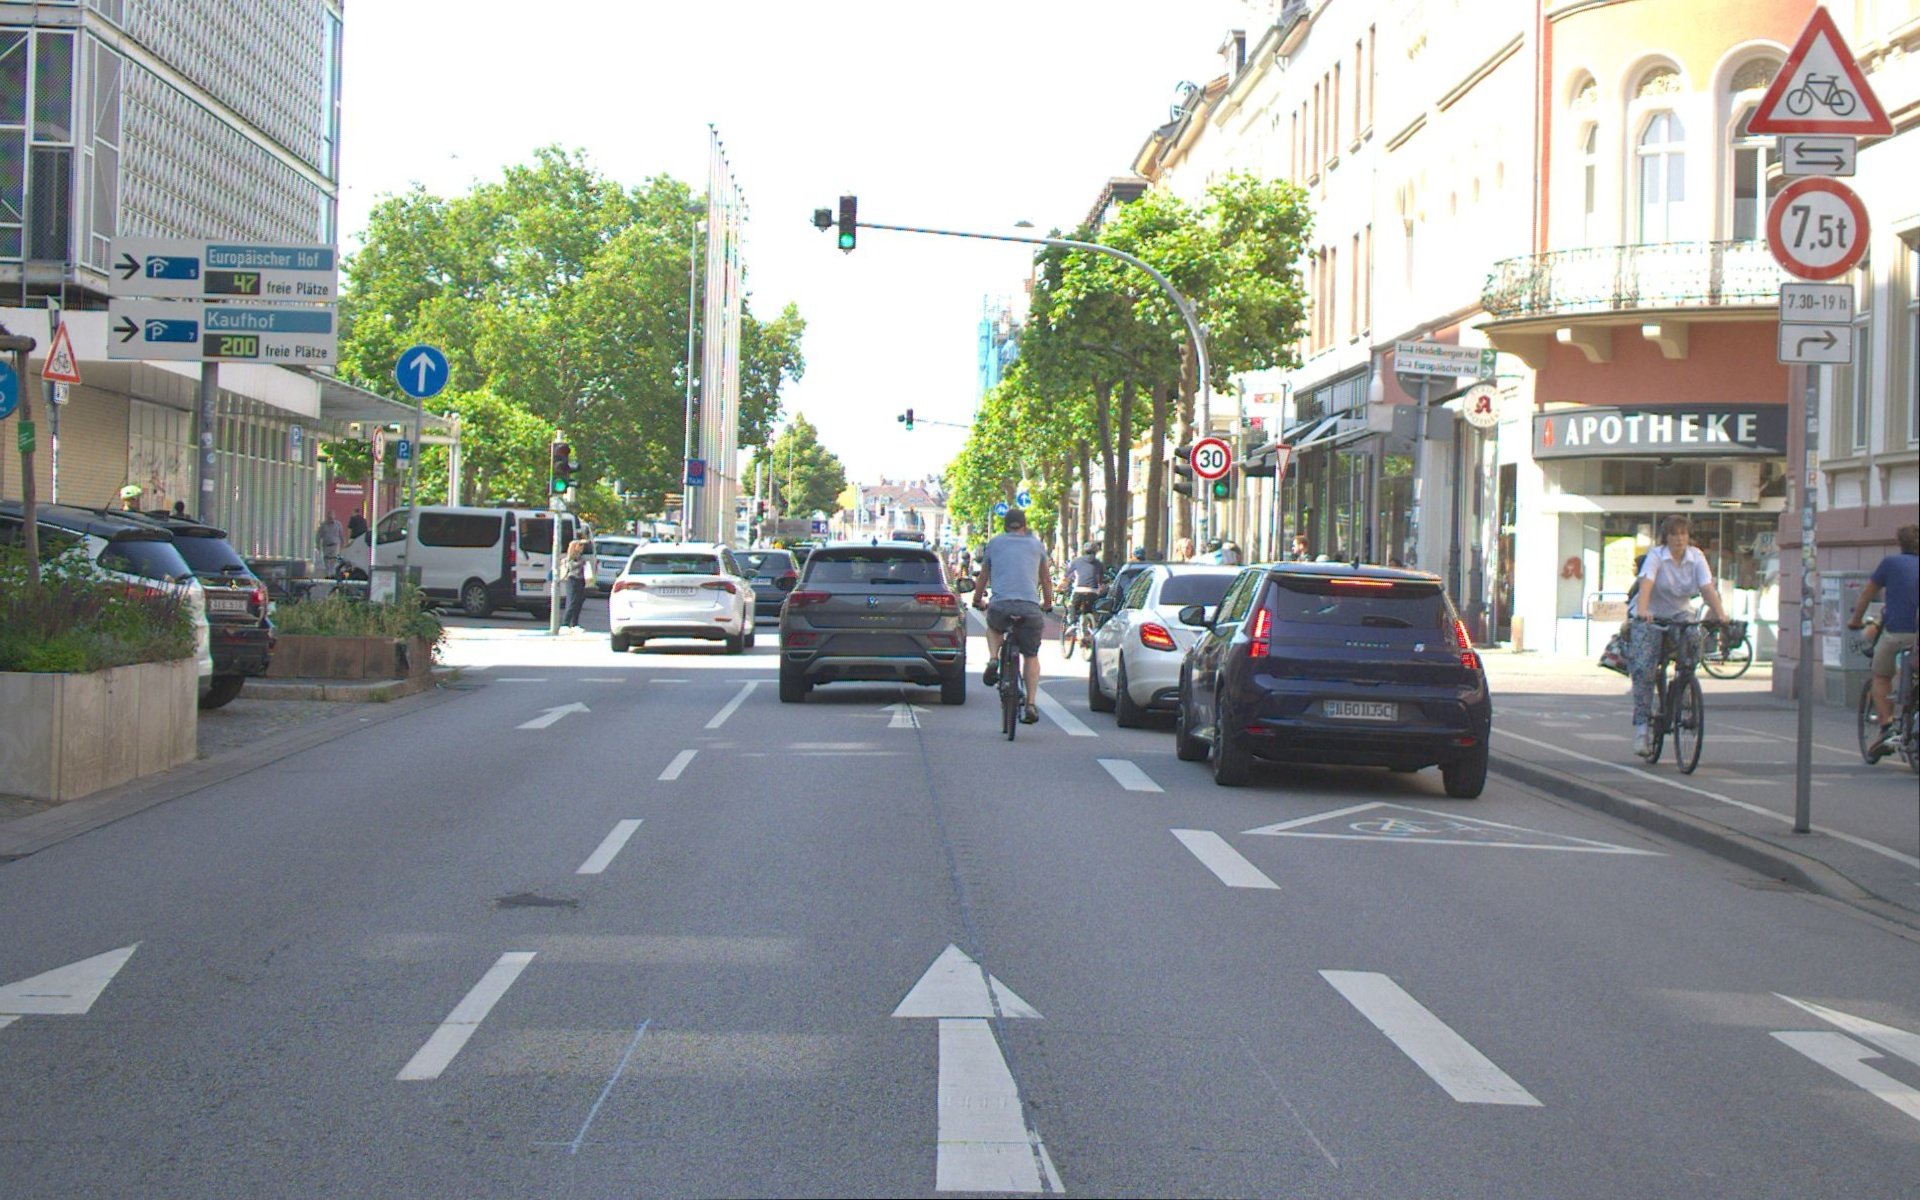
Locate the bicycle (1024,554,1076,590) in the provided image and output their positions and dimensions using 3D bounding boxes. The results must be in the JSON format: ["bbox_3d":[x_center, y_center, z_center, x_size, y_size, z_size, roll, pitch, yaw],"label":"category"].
[{"bbox_3d":[2.927,-0.910,111.713,1.649,1.091,0.607,2,1,2],"label":"bicycle"}]

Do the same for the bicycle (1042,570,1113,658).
[{"bbox_3d":[1.602,0.178,47.174,0.698,1.123,2.082,3,1,-4],"label":"bicycle"}]

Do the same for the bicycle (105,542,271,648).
[{"bbox_3d":[-8.813,-0.064,39.211,2.062,1.165,0.604,1,0,36],"label":"bicycle"}]

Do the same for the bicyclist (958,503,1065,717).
[{"bbox_3d":[0.394,0.068,26.992,0.774,1.629,0.851,2,1,-1],"label":"bicyclist"}]

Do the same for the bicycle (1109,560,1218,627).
[{"bbox_3d":[3.573,-0.111,60.233,1.840,1.123,0.666,1,0,6],"label":"bicycle"}]

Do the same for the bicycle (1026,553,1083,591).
[{"bbox_3d":[2.921,-0.873,106.094,1.728,1.105,0.402,2,1,2],"label":"bicycle"}]

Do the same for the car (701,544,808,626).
[{"bbox_3d":[-3.808,-0.301,64.242,1.845,1.444,4.000,1,1,-2],"label":"car"}]

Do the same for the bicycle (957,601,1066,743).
[{"bbox_3d":[0.385,0.542,27.017,0.774,1.002,2.329,2,1,-1],"label":"bicycle"}]

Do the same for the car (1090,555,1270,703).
[{"bbox_3d":[2.450,0.310,37.579,1.629,1.473,3.730,2,0,8],"label":"car"}]

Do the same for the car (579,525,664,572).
[{"bbox_3d":[-15.234,-2.320,155.108,1.861,1.948,4.756,2,0,20],"label":"car"}]

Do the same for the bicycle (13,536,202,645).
[{"bbox_3d":[-9.438,-0.112,38.059,2.060,1.123,0.646,3,1,25],"label":"bicycle"}]

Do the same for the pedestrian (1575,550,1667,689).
[{"bbox_3d":[7.770,0.237,40.454,0.900,1.606,0.976,0,-2,2],"label":"pedestrian"}]

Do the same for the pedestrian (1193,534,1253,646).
[{"bbox_3d":[4.060,-0.159,53.033,0.787,1.685,0.641,2,1,-3],"label":"pedestrian"}]

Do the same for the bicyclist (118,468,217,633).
[{"bbox_3d":[-9.608,-0.601,41.715,0.842,1.953,1.017,2,0,5],"label":"bicyclist"}]

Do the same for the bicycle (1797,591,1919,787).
[{"bbox_3d":[6.721,0.622,24.863,0.732,1.264,2.282,3,2,0],"label":"bicycle"}]

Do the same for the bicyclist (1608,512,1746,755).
[{"bbox_3d":[5.148,0.232,24.739,0.745,1.697,1.036,1,0,-1],"label":"bicyclist"}]

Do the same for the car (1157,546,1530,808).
[{"bbox_3d":[2.561,0.458,24.006,1.886,1.486,4.291,4,1,-2],"label":"car"}]

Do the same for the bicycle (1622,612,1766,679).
[{"bbox_3d":[9.921,0.613,46.472,1.821,0.841,0.501,1,1,0],"label":"bicycle"}]

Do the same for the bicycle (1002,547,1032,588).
[{"bbox_3d":[1.450,-0.830,87.404,0.647,0.994,2.031,2,1,-1],"label":"bicycle"}]

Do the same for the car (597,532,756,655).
[{"bbox_3d":[-3.796,-0.120,46.563,1.845,1.554,4.000,1,1,-1],"label":"car"}]

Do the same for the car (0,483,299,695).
[{"bbox_3d":[-7.865,-0.151,28.869,4.026,1.597,1.956,4,0,22],"label":"car"}]

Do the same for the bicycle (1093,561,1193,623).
[{"bbox_3d":[3.462,-0.151,65.028,1.840,1.123,0.530,1,0,1],"label":"bicycle"}]

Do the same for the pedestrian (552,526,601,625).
[{"bbox_3d":[-6.204,-0.399,55.608,0.639,1.554,0.681,3,1,-13],"label":"pedestrian"}]

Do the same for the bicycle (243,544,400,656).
[{"bbox_3d":[-7.206,-0.005,38.765,2.063,1.169,0.604,3,0,44],"label":"bicycle"}]

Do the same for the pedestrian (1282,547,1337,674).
[{"bbox_3d":[5.173,0.157,50.891,0.639,1.836,0.614,4,0,11],"label":"pedestrian"}]

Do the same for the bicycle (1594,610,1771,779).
[{"bbox_3d":[5.150,0.646,24.649,0.741,1.123,2.573,0,0,0],"label":"bicycle"}]

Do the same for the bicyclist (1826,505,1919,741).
[{"bbox_3d":[6.710,0.160,24.754,0.731,1.668,0.774,1,0,0],"label":"bicyclist"}]

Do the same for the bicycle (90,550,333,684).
[{"bbox_3d":[-7.004,0.162,32.238,2.140,1.123,0.485,3,2,-8],"label":"bicycle"}]

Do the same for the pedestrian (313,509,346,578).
[{"bbox_3d":[-14.500,-1.300,79.060,0.678,1.554,0.641,1,1,-6],"label":"pedestrian"}]

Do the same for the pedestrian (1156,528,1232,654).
[{"bbox_3d":[3.391,-0.125,49.979,0.639,1.703,0.790,-12,-1,-6],"label":"pedestrian"}]

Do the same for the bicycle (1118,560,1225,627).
[{"bbox_3d":[3.741,-0.114,60.938,1.840,1.123,0.666,1,0,1],"label":"bicycle"}]

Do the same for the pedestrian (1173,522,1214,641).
[{"bbox_3d":[3.559,-0.285,52.415,0.452,1.789,0.608,3,1,-3],"label":"pedestrian"}]

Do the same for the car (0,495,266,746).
[{"bbox_3d":[-7.561,0.011,25.465,4.159,1.631,2.102,6,1,7],"label":"car"}]

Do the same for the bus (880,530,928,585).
[{"bbox_3d":[-3.853,-2.853,234.067,2.994,3.582,11.745,2,0,-2],"label":"bus"}]

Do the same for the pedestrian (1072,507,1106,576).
[{"bbox_3d":[3.247,-1.472,86.717,0.639,1.683,0.843,4,1,-3],"label":"pedestrian"}]

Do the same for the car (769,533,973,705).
[{"bbox_3d":[-0.932,0.140,33.675,1.845,1.554,4.001,1,1,-3],"label":"car"}]

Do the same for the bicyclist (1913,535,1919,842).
[{"bbox_3d":[5.299,0.460,17.297,0.745,1.568,0.844,1,0,-1],"label":"bicyclist"}]

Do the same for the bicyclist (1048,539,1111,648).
[{"bbox_3d":[1.632,-0.092,46.974,0.698,1.436,0.791,3,0,-4],"label":"bicyclist"}]

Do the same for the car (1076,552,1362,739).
[{"bbox_3d":[2.239,0.347,31.055,1.952,1.420,4.887,3,1,-2],"label":"car"}]

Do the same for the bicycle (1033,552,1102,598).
[{"bbox_3d":[3.031,-0.712,96.662,1.840,1.182,0.670,3,0,4],"label":"bicycle"}]

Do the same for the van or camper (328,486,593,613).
[{"bbox_3d":[-9.039,-0.926,62.038,4.656,2.006,1.995,4,2,39],"label":"van or camper"}]

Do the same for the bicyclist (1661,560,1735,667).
[{"bbox_3d":[9.953,0.178,46.385,0.859,1.406,0.501,1,1,0],"label":"bicyclist"}]

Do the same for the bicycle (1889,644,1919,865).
[{"bbox_3d":[5.274,0.829,17.374,0.594,1.123,2.094,0,2,0],"label":"bicycle"}]

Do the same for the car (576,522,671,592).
[{"bbox_3d":[-7.985,-1.048,81.817,1.799,1.518,4.739,3,1,-1],"label":"car"}]

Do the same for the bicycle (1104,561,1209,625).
[{"bbox_3d":[3.567,-0.128,62.512,1.840,1.123,0.643,1,0,1],"label":"bicycle"}]
